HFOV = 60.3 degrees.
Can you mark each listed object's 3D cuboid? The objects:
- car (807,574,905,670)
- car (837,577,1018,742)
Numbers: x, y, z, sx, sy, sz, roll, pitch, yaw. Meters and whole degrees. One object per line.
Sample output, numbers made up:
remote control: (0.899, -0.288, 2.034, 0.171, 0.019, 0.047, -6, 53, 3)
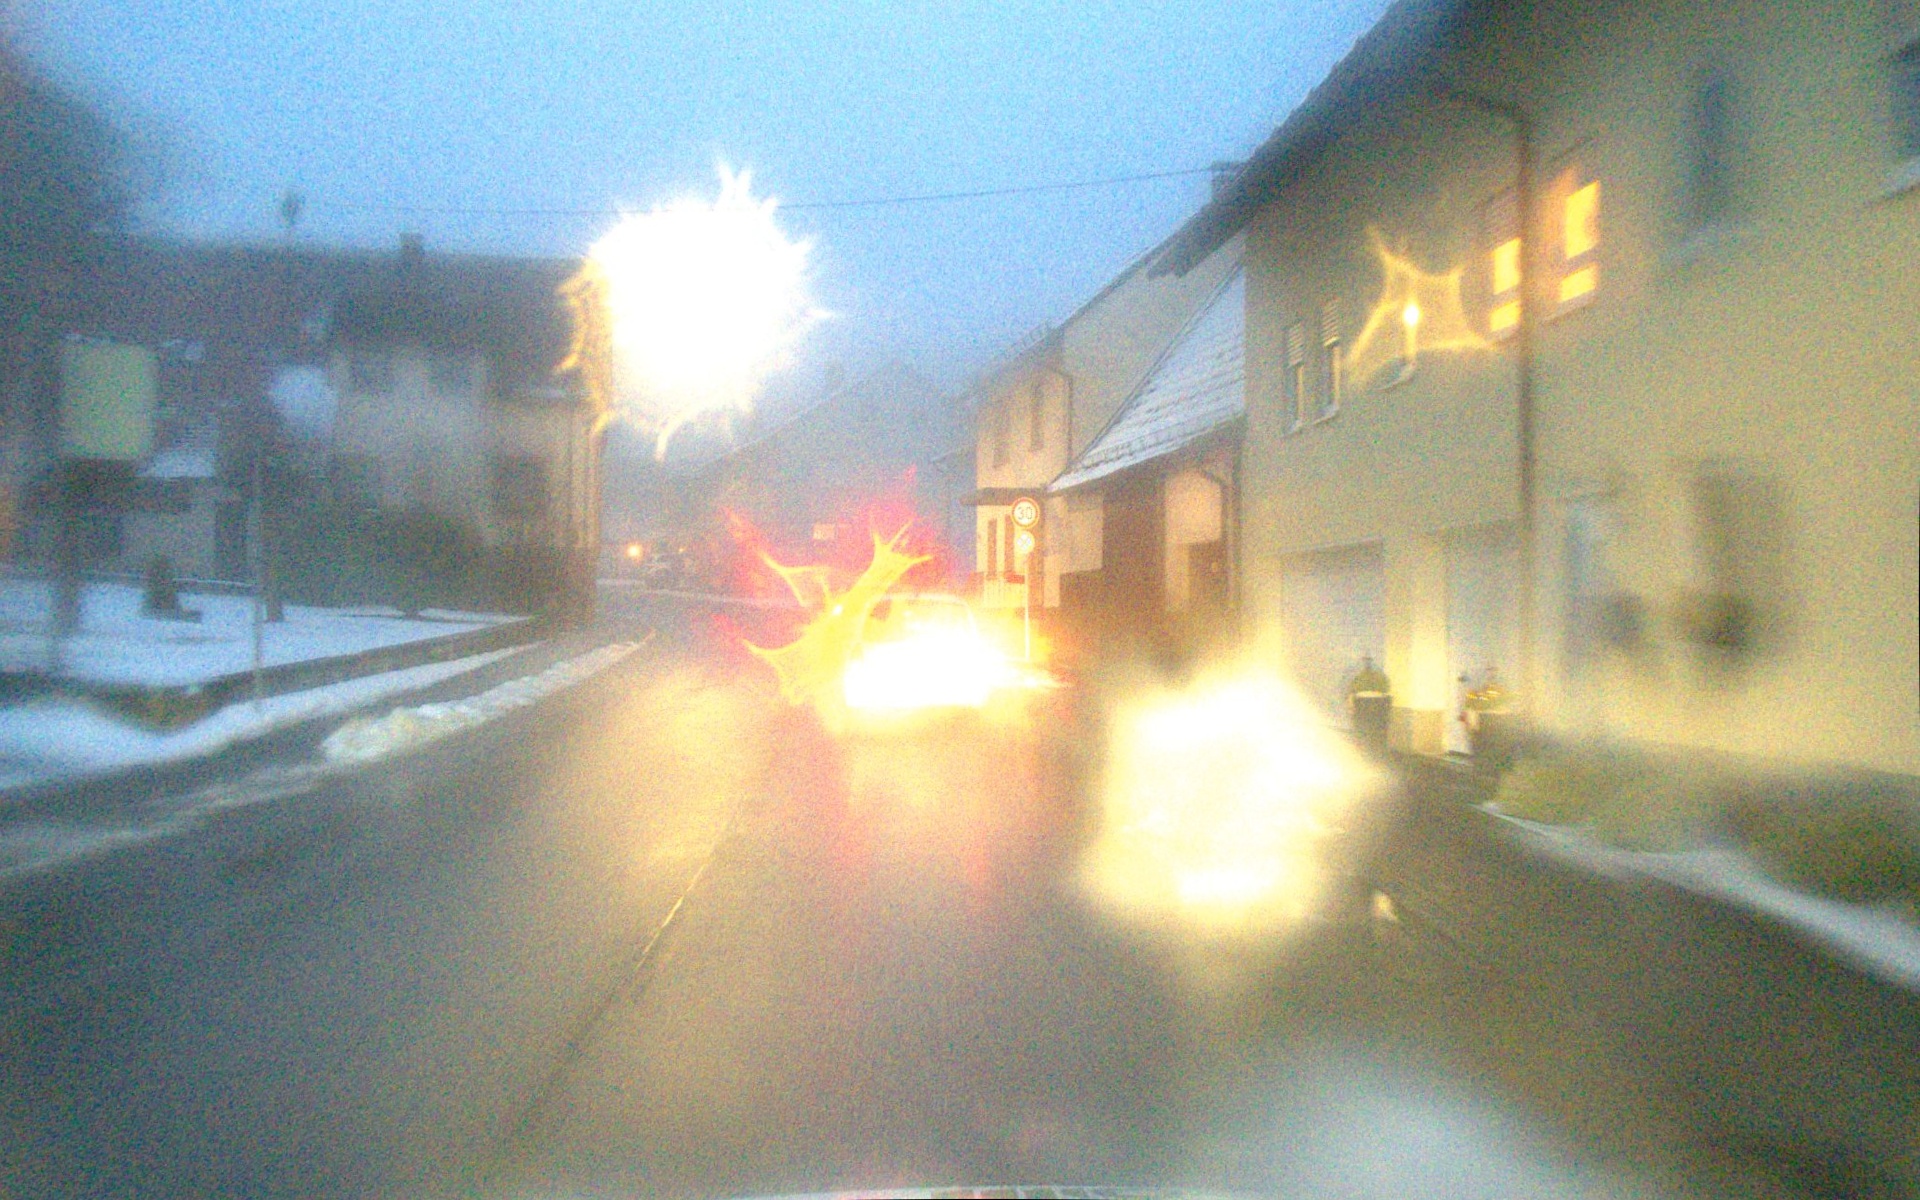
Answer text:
car: (-1.994, 0.411, 30.877, 1.614, 1.624, 3.694, 2, -1, -6)
car: (-0.457, 0.626, 18.481, 1.614, 1.624, 3.693, 2, -1, -7)
